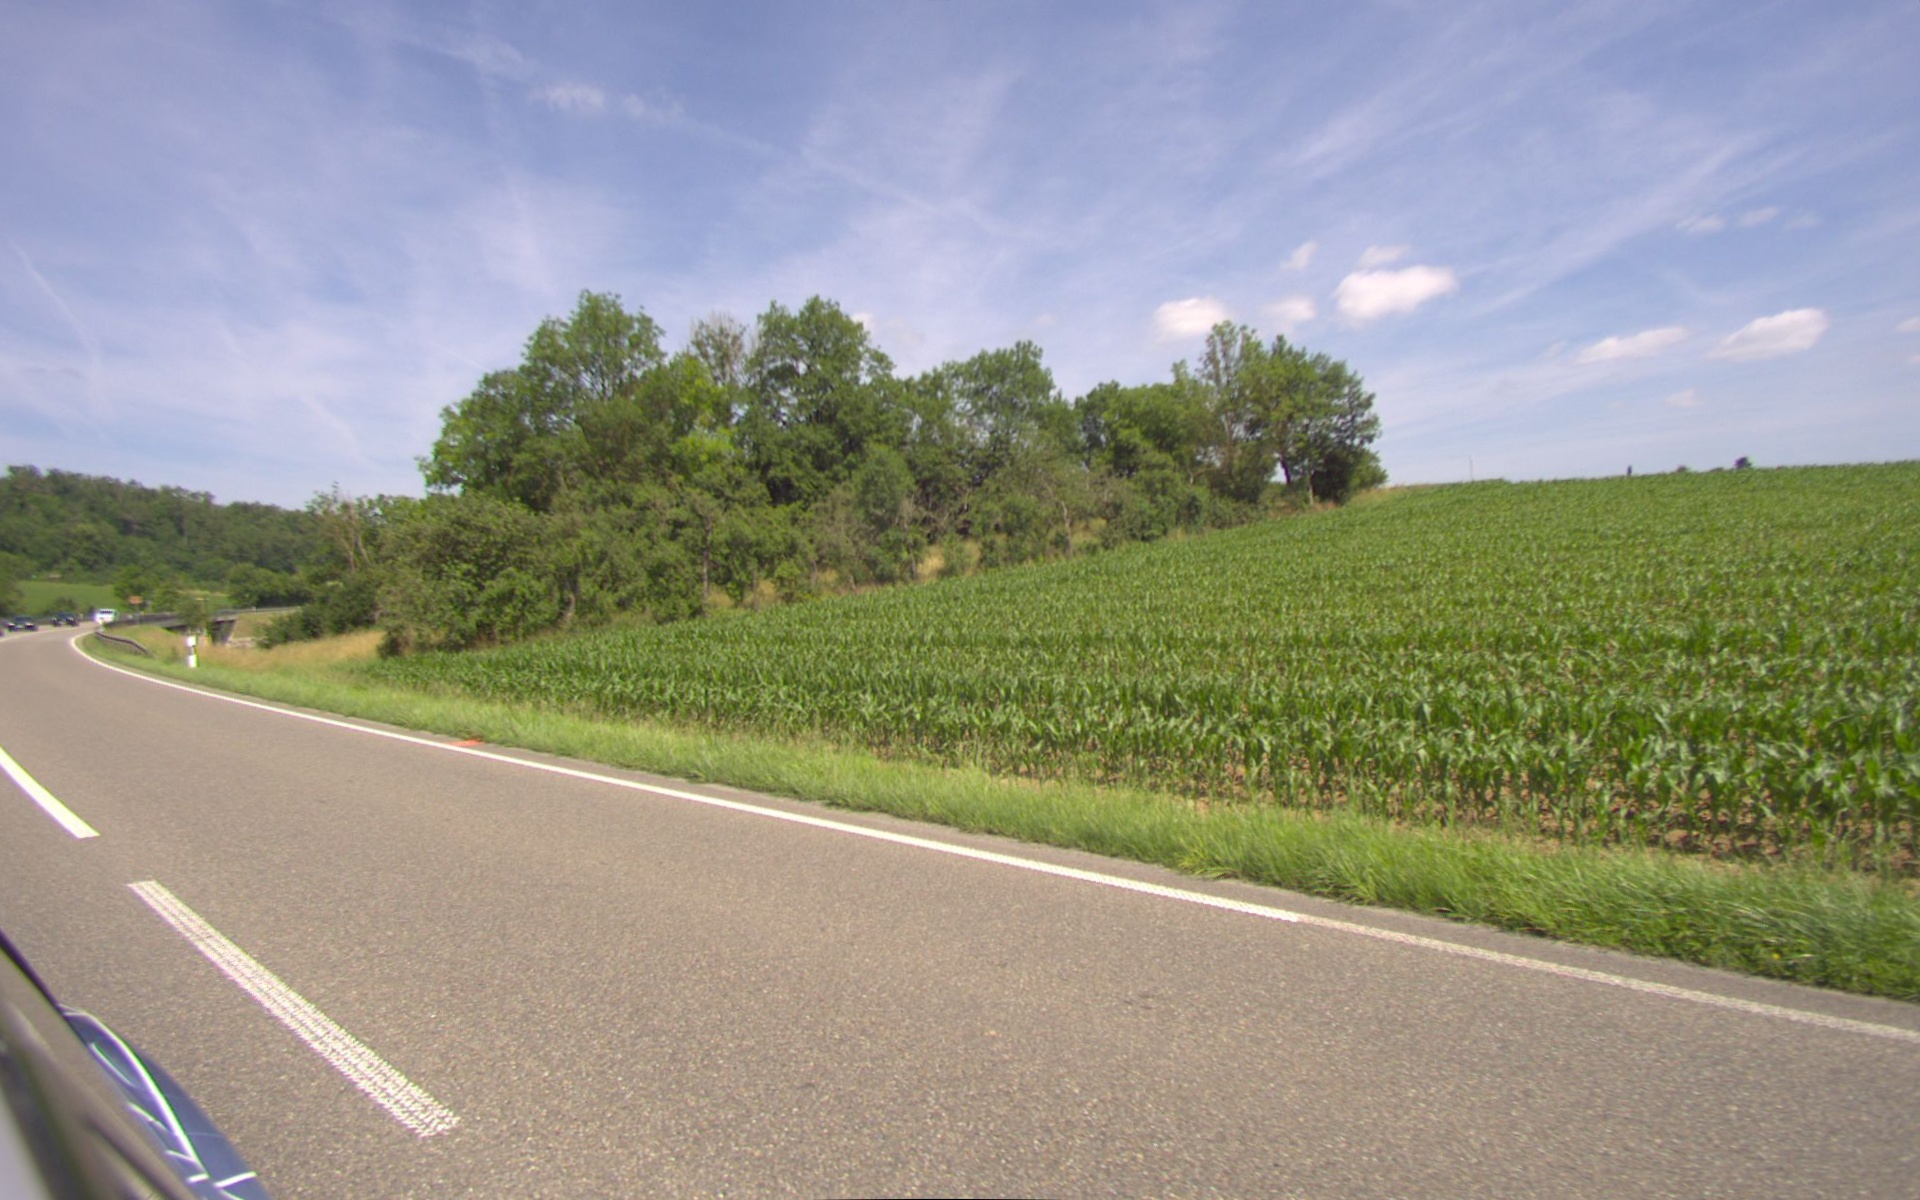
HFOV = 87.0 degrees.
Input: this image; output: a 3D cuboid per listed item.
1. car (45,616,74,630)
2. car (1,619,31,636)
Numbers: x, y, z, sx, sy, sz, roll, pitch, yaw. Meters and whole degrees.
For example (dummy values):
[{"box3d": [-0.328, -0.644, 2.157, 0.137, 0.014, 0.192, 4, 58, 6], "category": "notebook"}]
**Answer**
[{"box3d": [-104.139, 2.662, 117.090, 1.714, 1.465, 4.048, 0, 0, -31], "category": "car"}, {"box3d": [-86.322, 2.495, 92.566, 1.716, 1.465, 4.044, 0, 0, -38], "category": "car"}]
